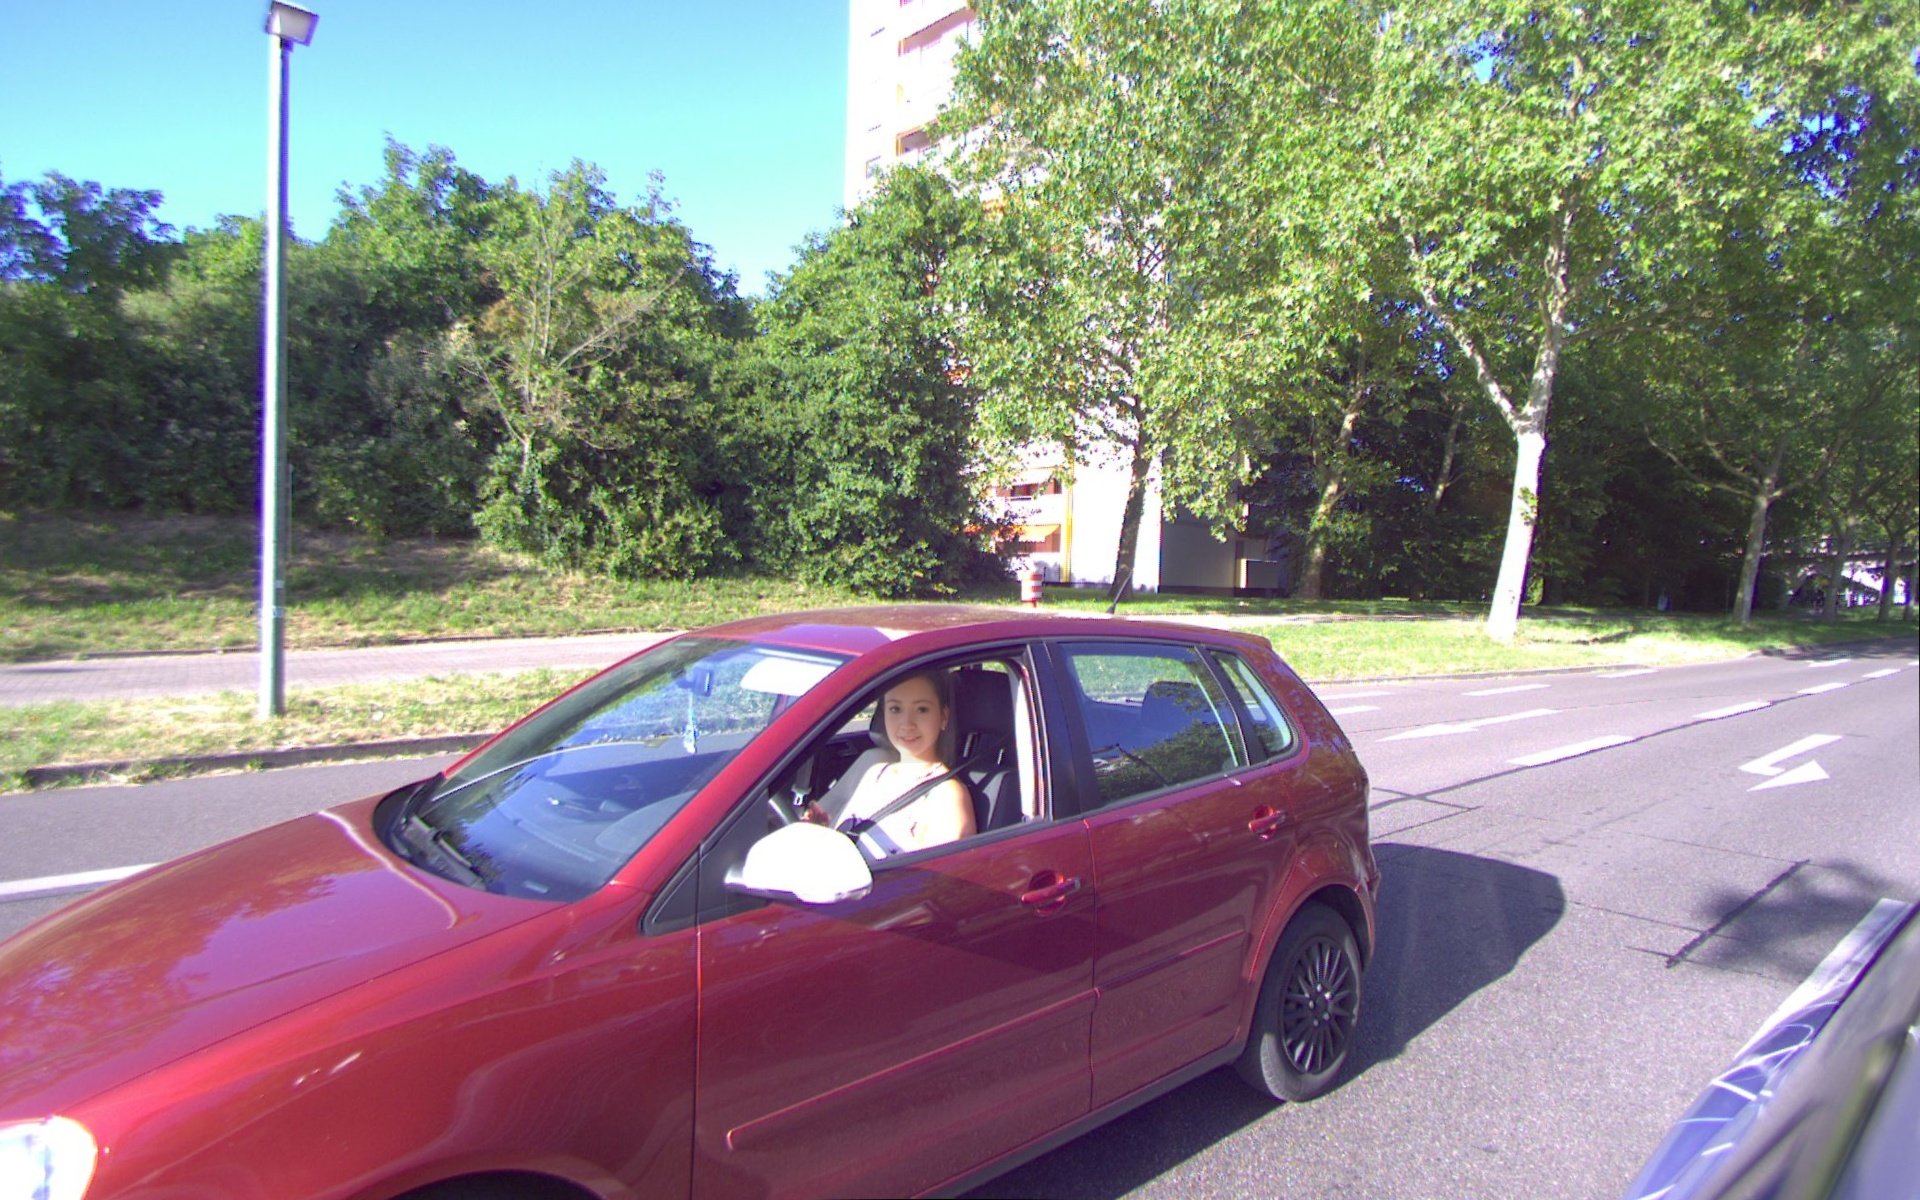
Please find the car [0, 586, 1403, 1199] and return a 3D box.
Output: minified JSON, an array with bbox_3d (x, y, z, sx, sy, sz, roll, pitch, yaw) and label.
[{"bbox_3d":[-0.445,0.709,2.730,3.624,1.479,1.579,-1,0,-40],"label":"car"}]
